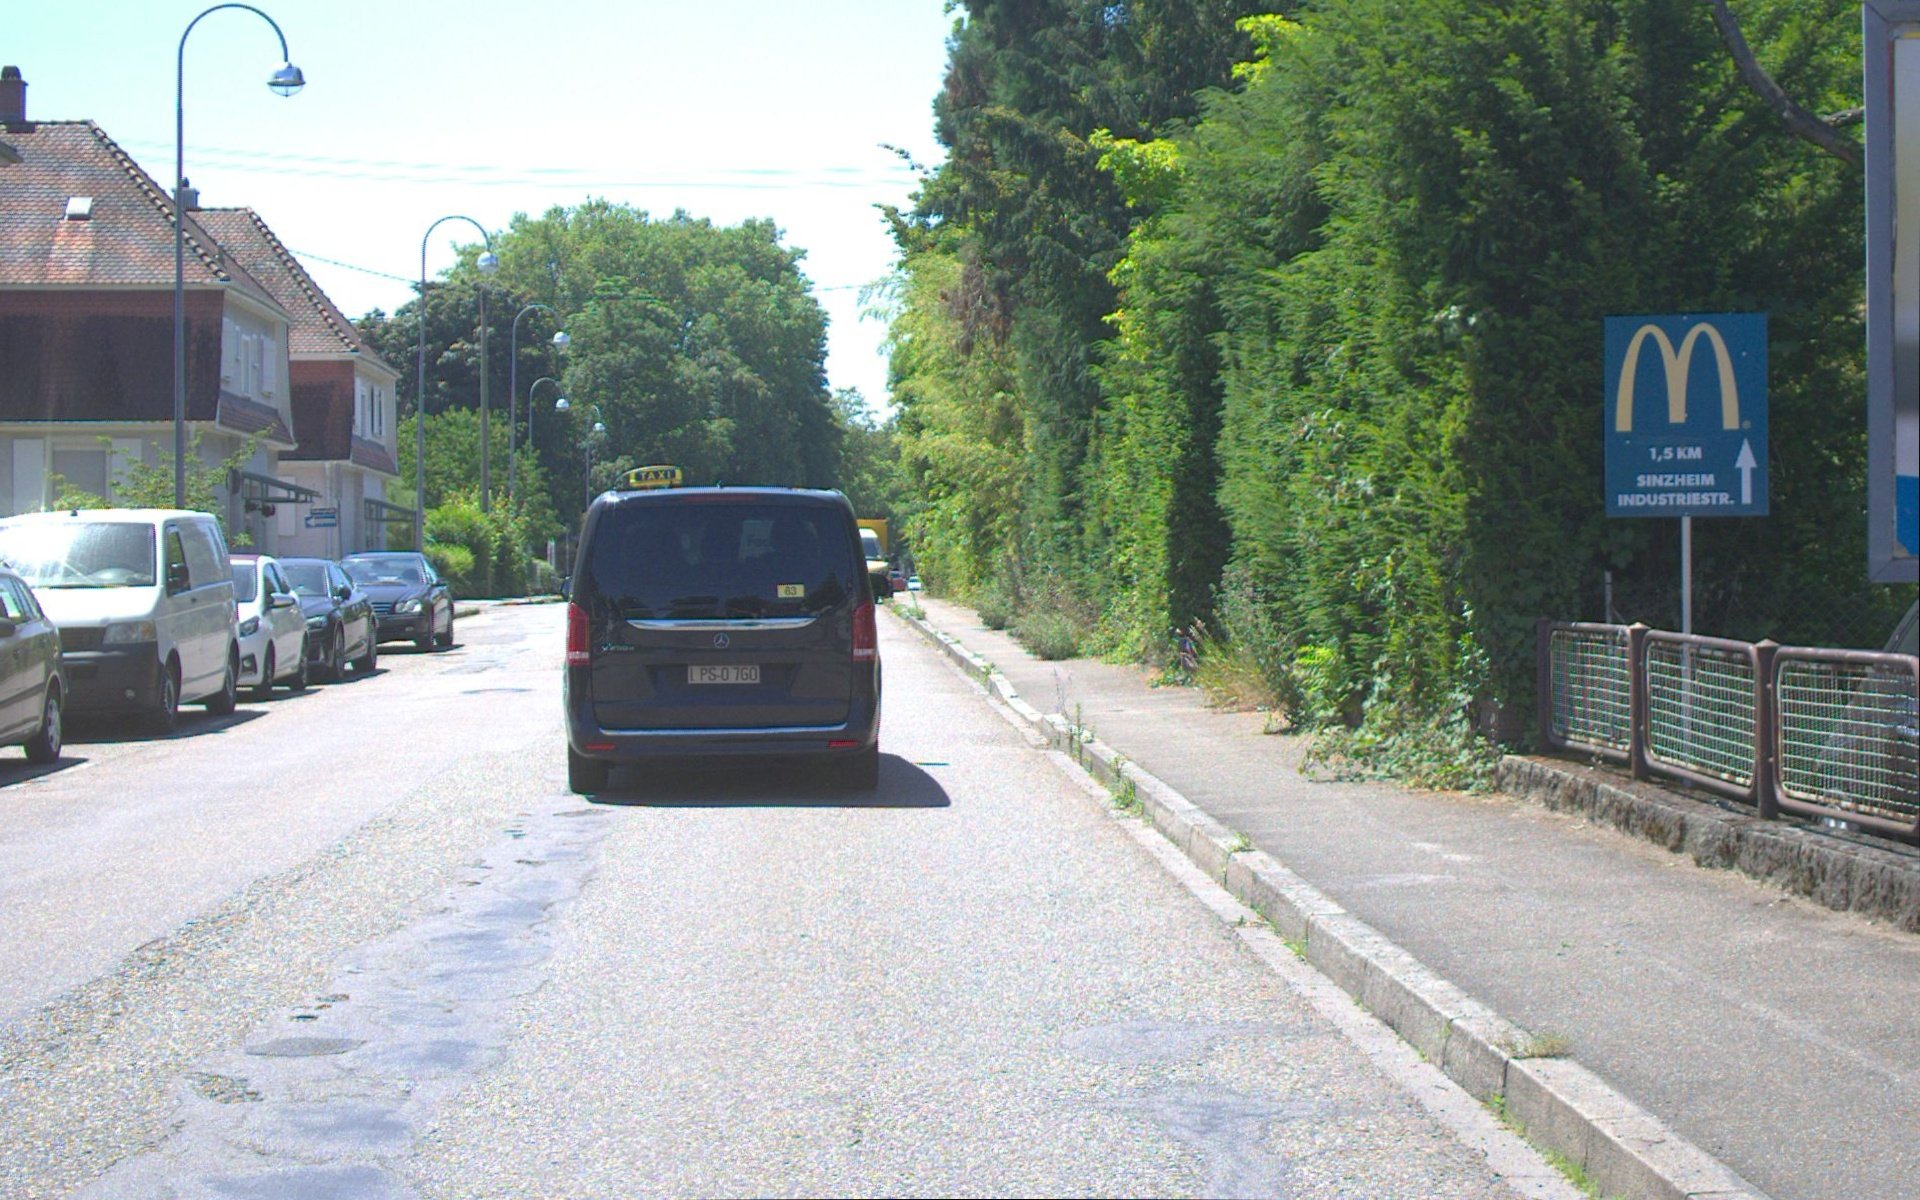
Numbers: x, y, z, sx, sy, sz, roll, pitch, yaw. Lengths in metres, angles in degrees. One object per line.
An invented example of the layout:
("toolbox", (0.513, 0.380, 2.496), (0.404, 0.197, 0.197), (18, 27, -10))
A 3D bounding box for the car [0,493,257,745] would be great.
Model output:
("car", (-7.488, 0.120, 29.895), (1.878, 1.956, 4.626), (-3, 1, -2))

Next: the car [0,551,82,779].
("car", (-7.341, 0.452, 23.683), (1.686, 1.520, 4.063), (-1, 1, -3))

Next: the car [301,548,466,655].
("car", (-8.214, -0.016, 49.291), (1.666, 1.381, 4.380), (-2, 1, -1))

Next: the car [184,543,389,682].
("car", (-7.774, 0.101, 40.040), (1.666, 1.487, 4.466), (0, 1, -2))

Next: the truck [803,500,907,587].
("truck", (-2.868, -1.499, 92.570), (2.355, 2.251, 6.093), (-1, 1, -6))

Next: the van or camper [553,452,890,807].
("van or camper", (-1.456, 0.138, 22.207), (1.902, 2.007, 5.270), (0, 1, -2))

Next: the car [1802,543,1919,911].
("car", (4.661, 0.551, 13.313), (1.631, 1.454, 3.557), (3, 1, -4))

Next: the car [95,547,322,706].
("car", (-7.700, 0.235, 35.486), (1.666, 1.487, 3.478), (-2, 1, -2))
